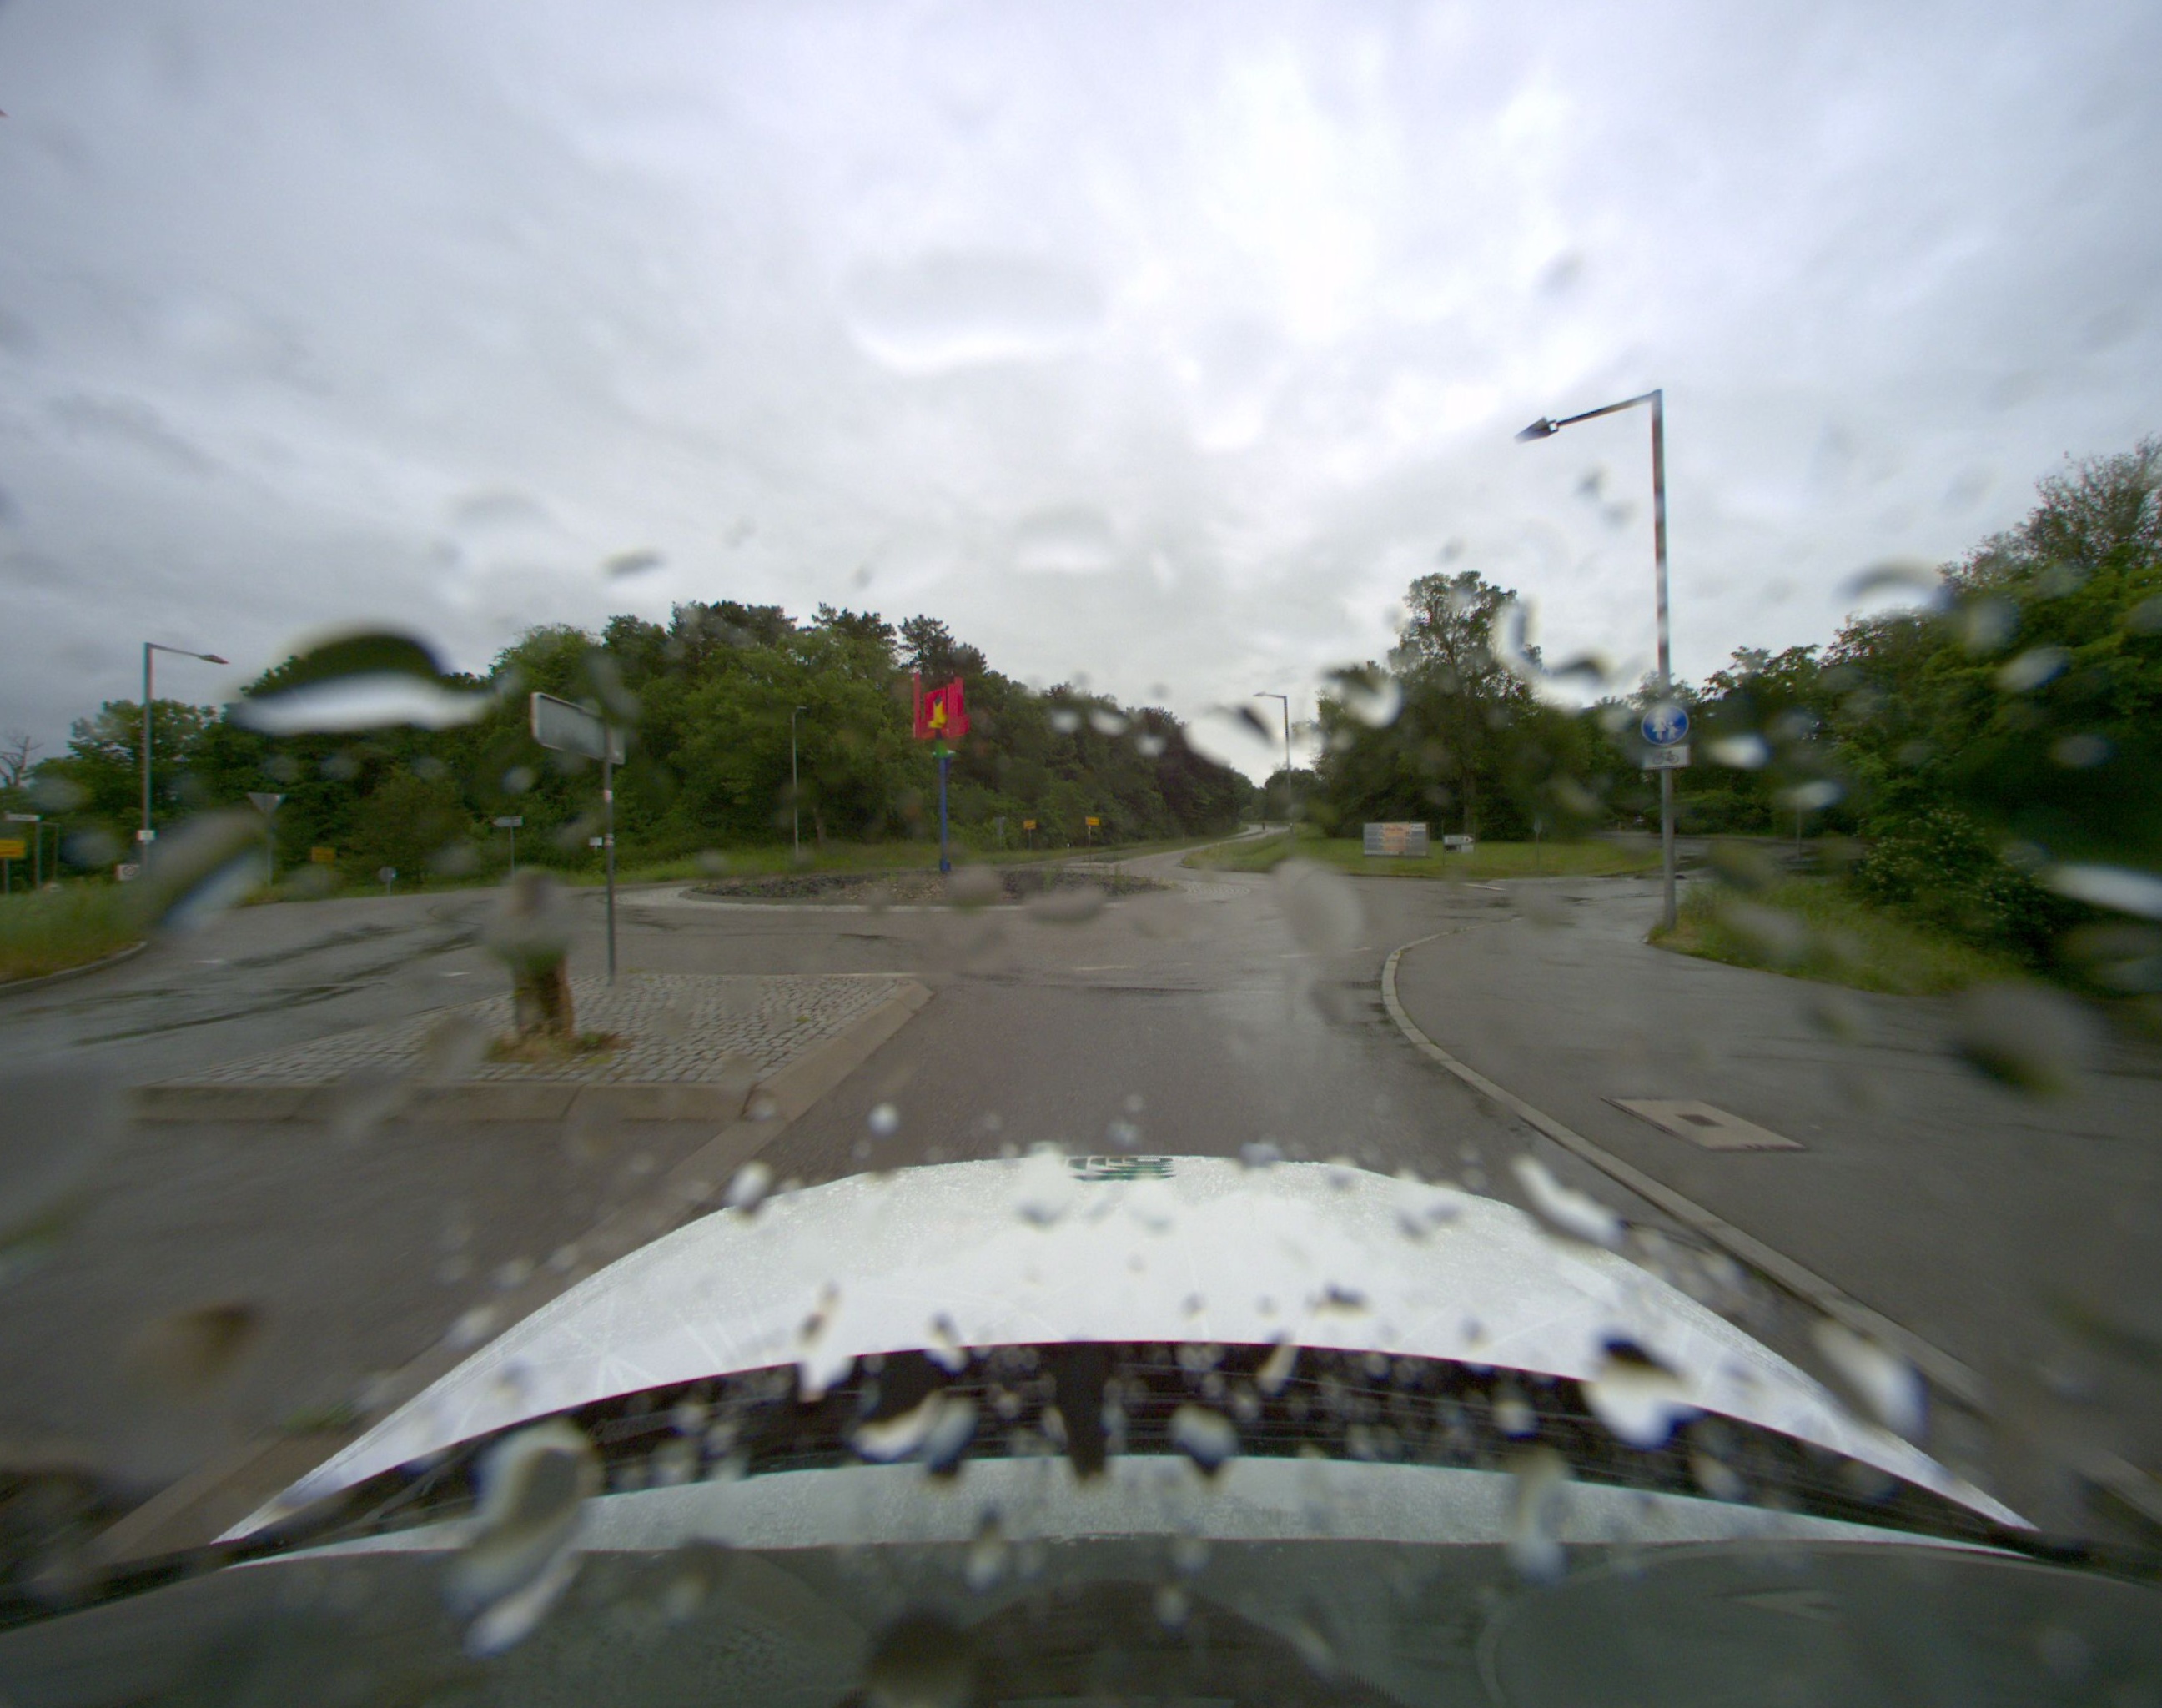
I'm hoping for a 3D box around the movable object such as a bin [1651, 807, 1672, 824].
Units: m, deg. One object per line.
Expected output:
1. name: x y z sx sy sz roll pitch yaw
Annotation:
1. movable object such as a bin: 50.761 -3.320 71.217 1.183 1.437 1.437 -1 1 24
